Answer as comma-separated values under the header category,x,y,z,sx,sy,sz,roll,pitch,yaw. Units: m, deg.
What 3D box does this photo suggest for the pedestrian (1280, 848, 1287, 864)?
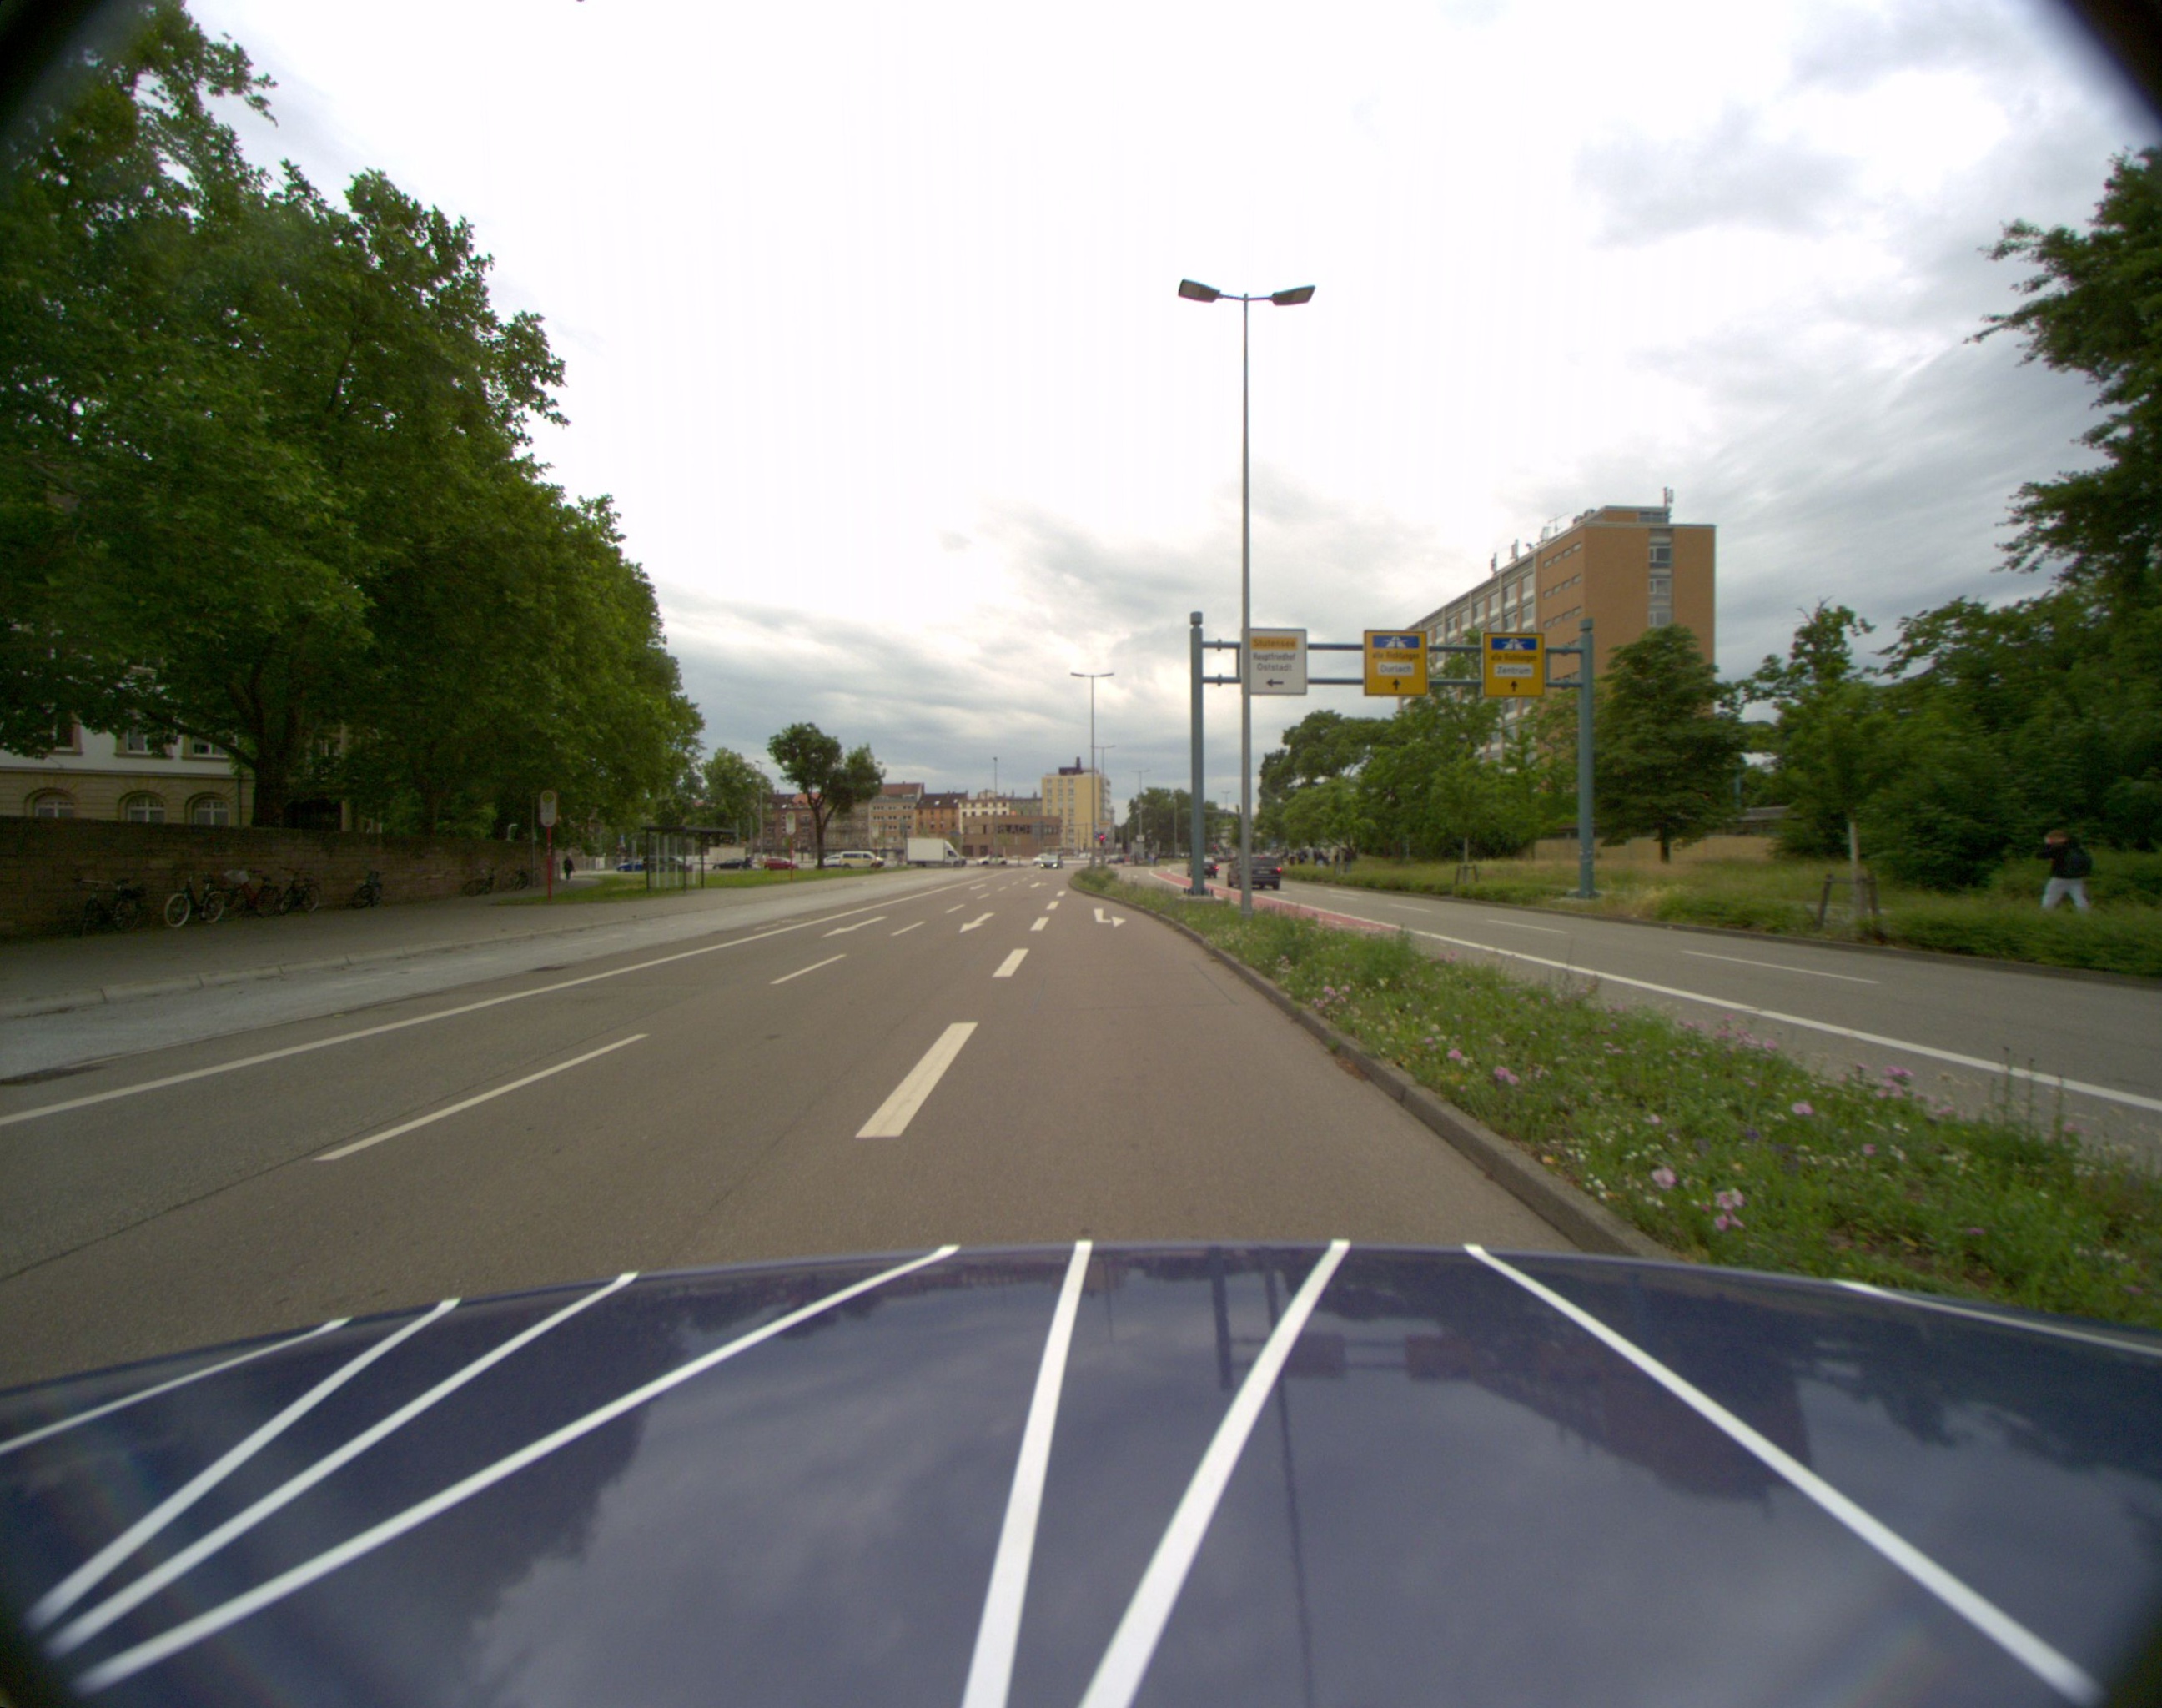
category,x,y,z,sx,sy,sz,roll,pitch,yaw
pedestrian,23.864,0.241,89.720,0.638,1.790,0.762,-1,0,4

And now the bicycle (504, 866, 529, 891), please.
category,x,y,z,sx,sy,sz,roll,pitch,yaw
bicycle,-25.660,1.097,34.572,0.596,1.053,1.709,1,0,-25

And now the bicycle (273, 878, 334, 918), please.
category,x,y,z,sx,sy,sz,roll,pitch,yaw
bicycle,-20.095,1.125,19.676,0.417,0.937,1.523,1,0,-17

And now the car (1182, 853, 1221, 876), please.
category,x,y,z,sx,sy,sz,roll,pitch,yaw
car,8.349,0.704,53.080,1.769,1.452,4.790,1,1,-3

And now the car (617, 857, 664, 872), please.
category,x,y,z,sx,sy,sz,roll,pitch,yaw
car,-51.484,1.236,88.889,4.431,1.735,1.763,1,0,-7

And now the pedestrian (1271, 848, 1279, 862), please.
category,x,y,z,sx,sy,sz,roll,pitch,yaw
pedestrian,24.167,0.127,94.593,0.708,1.661,0.890,-2,0,4

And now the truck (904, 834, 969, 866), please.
category,x,y,z,sx,sy,sz,roll,pitch,yaw
truck,-16.181,-0.465,85.498,6.852,3.393,2.559,-1,2,-5

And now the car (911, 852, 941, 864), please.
category,x,y,z,sx,sy,sz,roll,pitch,yaw
car,-18.372,0.473,90.201,3.433,1.382,1.517,1,0,-14

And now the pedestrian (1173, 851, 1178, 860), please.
category,x,y,z,sx,sy,sz,roll,pitch,yaw
pedestrian,19.733,0.303,158.683,0.987,2.002,0.909,1,0,17

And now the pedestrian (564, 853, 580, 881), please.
category,x,y,z,sx,sy,sz,roll,pitch,yaw
pedestrian,-32.482,0.815,48.514,0.759,1.725,0.820,0,1,-39

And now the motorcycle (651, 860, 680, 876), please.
category,x,y,z,sx,sy,sz,roll,pitch,yaw
motorcycle,-44.486,1.499,81.412,2.515,1.592,0.928,1,0,-12

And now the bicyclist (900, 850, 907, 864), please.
category,x,y,z,sx,sy,sz,roll,pitch,yaw
bicyclist,-19.359,0.319,82.889,0.740,1.499,0.767,1,0,-10

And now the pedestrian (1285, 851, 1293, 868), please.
category,x,y,z,sx,sy,sz,roll,pitch,yaw
pedestrian,19.982,0.531,72.954,0.622,1.685,0.748,1,0,21

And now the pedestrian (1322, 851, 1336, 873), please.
category,x,y,z,sx,sy,sz,roll,pitch,yaw
pedestrian,18.941,0.606,58.024,0.709,1.663,0.767,1,0,-5

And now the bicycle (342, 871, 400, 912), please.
category,x,y,z,sx,sy,sz,roll,pitch,yaw
bicycle,-20.508,1.053,21.975,0.599,1.098,1.652,1,0,-19

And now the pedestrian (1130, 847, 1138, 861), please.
category,x,y,z,sx,sy,sz,roll,pitch,yaw
pedestrian,6.929,0.036,99.667,0.917,1.794,0.541,1,1,17

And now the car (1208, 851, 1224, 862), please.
category,x,y,z,sx,sy,sz,roll,pitch,yaw
car,23.146,0.409,130.274,1.812,1.657,3.955,1,1,23

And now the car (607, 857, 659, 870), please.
category,x,y,z,sx,sy,sz,roll,pitch,yaw
car,-48.434,1.015,82.216,4.531,1.405,1.897,1,0,-13

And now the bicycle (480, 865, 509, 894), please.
category,x,y,z,sx,sy,sz,roll,pitch,yaw
bicycle,-24.254,1.043,31.454,0.596,1.123,1.709,1,0,-25

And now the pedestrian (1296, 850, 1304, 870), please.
category,x,y,z,sx,sy,sz,roll,pitch,yaw
pedestrian,18.489,0.487,64.202,0.661,1.622,0.764,1,0,16

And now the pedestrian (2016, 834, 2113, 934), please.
category,x,y,z,sx,sy,sz,roll,pitch,yaw
pedestrian,17.472,0.523,13.520,0.621,1.719,0.818,1,0,0

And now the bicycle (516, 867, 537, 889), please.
category,x,y,z,sx,sy,sz,roll,pitch,yaw
bicycle,-26.372,1.132,36.143,0.552,0.986,1.633,1,0,-28

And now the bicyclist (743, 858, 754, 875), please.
category,x,y,z,sx,sy,sz,roll,pitch,yaw
bicyclist,-35.843,1.327,81.861,0.896,1.849,0.764,1,0,-5

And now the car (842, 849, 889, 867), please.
category,x,y,z,sx,sy,sz,roll,pitch,yaw
car,-24.146,0.451,85.117,4.712,1.909,1.919,-1,3,-3

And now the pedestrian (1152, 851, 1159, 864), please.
category,x,y,z,sx,sy,sz,roll,pitch,yaw
pedestrian,9.823,0.484,100.109,0.777,1.657,0.706,1,0,-8

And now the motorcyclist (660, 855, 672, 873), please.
category,x,y,z,sx,sy,sz,roll,pitch,yaw
motorcyclist,-44.477,1.070,81.392,0.918,1.818,0.928,1,0,-12

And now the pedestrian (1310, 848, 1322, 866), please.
category,x,y,z,sx,sy,sz,roll,pitch,yaw
pedestrian,21.361,0.302,69.067,0.635,1.603,0.829,-2,0,-21

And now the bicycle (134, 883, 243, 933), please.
category,x,y,z,sx,sy,sz,roll,pitch,yaw
bicycle,-19.036,1.126,16.257,0.656,0.945,1.767,1,0,-17

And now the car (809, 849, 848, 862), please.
category,x,y,z,sx,sy,sz,roll,pitch,yaw
car,-29.808,0.183,89.913,4.030,1.466,1.820,1,0,-3

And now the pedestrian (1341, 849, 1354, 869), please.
category,x,y,z,sx,sy,sz,roll,pitch,yaw
pedestrian,18.041,0.336,51.422,0.646,1.354,0.680,1,0,-2

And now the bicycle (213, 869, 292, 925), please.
category,x,y,z,sx,sy,sz,roll,pitch,yaw
bicycle,-19.586,0.989,17.995,0.501,1.214,1.624,1,0,-17

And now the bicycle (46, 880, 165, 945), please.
category,x,y,z,sx,sy,sz,roll,pitch,yaw
bicycle,-18.456,1.069,14.432,0.722,1.093,1.788,1,0,-28

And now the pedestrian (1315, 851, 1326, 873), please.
category,x,y,z,sx,sy,sz,roll,pitch,yaw
pedestrian,18.267,0.589,57.969,0.587,1.650,0.720,1,0,-5

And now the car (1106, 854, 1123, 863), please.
category,x,y,z,sx,sy,sz,roll,pitch,yaw
car,5.461,0.735,123.970,1.782,1.255,3.535,-1,1,19

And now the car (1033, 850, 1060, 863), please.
category,x,y,z,sx,sy,sz,roll,pitch,yaw
car,-4.465,0.301,98.455,1.862,1.557,4.007,1,0,24

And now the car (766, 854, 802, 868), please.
category,x,y,z,sx,sy,sz,roll,pitch,yaw
car,-33.148,0.828,84.897,3.431,1.372,1.288,-1,-7,-5

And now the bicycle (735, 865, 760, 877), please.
category,x,y,z,sx,sy,sz,roll,pitch,yaw
bicycle,-35.919,1.818,81.854,2.391,1.316,0.764,1,0,-6

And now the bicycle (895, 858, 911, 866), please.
category,x,y,z,sx,sy,sz,roll,pitch,yaw
bicycle,-19.406,0.870,82.879,1.695,0.910,0.767,1,0,-10

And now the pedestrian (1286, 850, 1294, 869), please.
category,x,y,z,sx,sy,sz,roll,pitch,yaw
pedestrian,17.674,0.495,64.248,0.575,1.599,0.617,1,0,16

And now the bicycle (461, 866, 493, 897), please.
category,x,y,z,sx,sy,sz,roll,pitch,yaw
bicycle,-23.673,1.058,29.815,0.596,1.129,1.709,1,0,-25

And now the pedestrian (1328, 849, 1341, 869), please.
category,x,y,z,sx,sy,sz,roll,pitch,yaw
pedestrian,17.193,0.343,51.557,0.646,1.350,0.711,1,0,-1

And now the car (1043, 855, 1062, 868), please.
category,x,y,z,sx,sy,sz,roll,pitch,yaw
car,-2.865,0.738,77.006,1.785,1.255,3.830,-1,1,1

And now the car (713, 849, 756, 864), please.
category,x,y,z,sx,sy,sz,roll,pitch,yaw
car,-40.498,0.269,88.815,4.282,1.628,1.690,1,0,1

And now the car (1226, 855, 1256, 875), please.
category,x,y,z,sx,sy,sz,roll,pitch,yaw
car,11.503,0.753,54.791,1.611,1.373,3.809,1,0,4

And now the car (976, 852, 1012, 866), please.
category,x,y,z,sx,sy,sz,roll,pitch,yaw
car,-10.700,0.606,93.162,3.917,1.753,1.835,1,0,-29

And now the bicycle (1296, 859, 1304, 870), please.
category,x,y,z,sx,sy,sz,roll,pitch,yaw
bicycle,18.483,0.882,64.206,0.661,0.882,1.717,1,0,16

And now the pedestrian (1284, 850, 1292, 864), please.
category,x,y,z,sx,sy,sz,roll,pitch,yaw
pedestrian,21.751,0.282,79.835,0.637,1.471,0.762,1,0,4

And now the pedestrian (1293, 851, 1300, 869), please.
category,x,y,z,sx,sy,sz,roll,pitch,yaw
pedestrian,20.514,0.553,72.368,0.579,1.702,0.763,1,0,21

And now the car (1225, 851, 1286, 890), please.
category,x,y,z,sx,sy,sz,roll,pitch,yaw
car,8.203,0.745,36.084,1.925,1.655,4.398,1,1,1

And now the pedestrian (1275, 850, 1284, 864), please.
category,x,y,z,sx,sy,sz,roll,pitch,yaw
pedestrian,20.865,0.291,79.727,0.730,1.471,0.813,1,0,4
